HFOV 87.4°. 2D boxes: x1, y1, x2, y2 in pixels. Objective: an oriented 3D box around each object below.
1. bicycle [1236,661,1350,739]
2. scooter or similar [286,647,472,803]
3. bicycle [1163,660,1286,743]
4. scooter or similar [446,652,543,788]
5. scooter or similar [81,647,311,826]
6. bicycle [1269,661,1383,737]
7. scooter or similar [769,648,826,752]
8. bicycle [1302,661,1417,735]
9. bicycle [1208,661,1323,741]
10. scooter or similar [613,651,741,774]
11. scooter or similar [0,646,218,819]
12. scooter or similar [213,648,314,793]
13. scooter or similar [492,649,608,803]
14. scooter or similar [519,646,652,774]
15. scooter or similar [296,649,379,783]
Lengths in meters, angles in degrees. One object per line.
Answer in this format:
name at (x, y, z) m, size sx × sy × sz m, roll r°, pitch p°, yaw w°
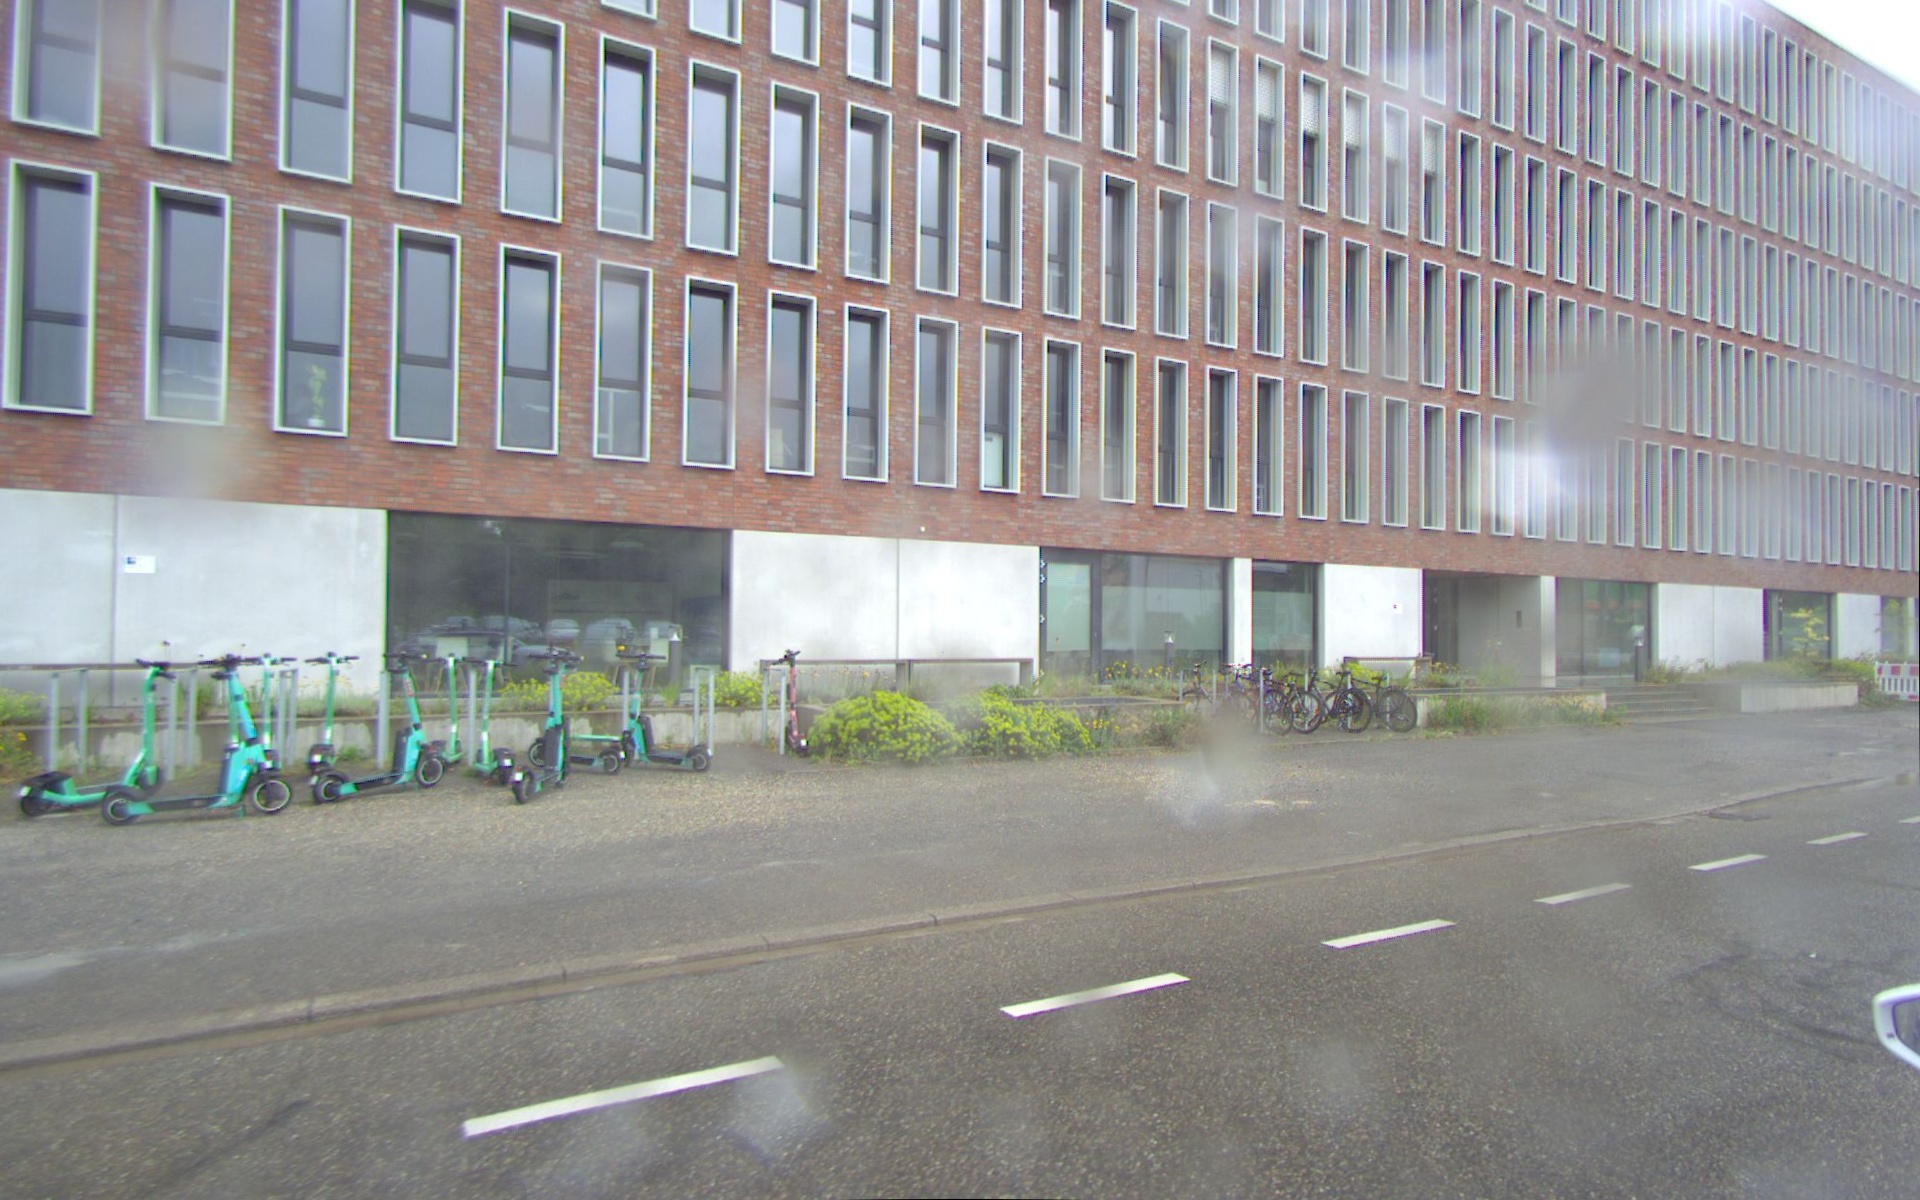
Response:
bicycle at (5.377, 1.589, 16.333) m, size 0.538 × 1.091 × 1.850 m, roll 3°, pitch -1°, yaw -30°
scooter or similar at (-5.032, 1.046, 8.780) m, size 0.459 × 1.246 × 1.318 m, roll -1°, pitch -3°, yaw 31°
bicycle at (4.044, 1.526, 15.524) m, size 0.613 × 1.091 × 1.938 m, roll 3°, pitch -1°, yaw -30°
scooter or similar at (-4.485, 1.108, 9.640) m, size 0.464 × 1.193 × 1.305 m, roll 3°, pitch -3°, yaw -41°
scooter or similar at (-5.715, 0.989, 7.601) m, size 1.307 × 1.246 × 0.463 m, roll 2°, pitch -3°, yaw -33°
bicycle at (6.072, 1.619, 16.766) m, size 0.538 × 1.091 × 1.850 m, roll 3°, pitch -1°, yaw -30°
scooter or similar at (-2.045, 1.222, 12.551) m, size 0.411 × 1.224 × 1.224 m, roll 2°, pitch -3°, yaw -22°
bicycle at (6.794, 1.649, 17.175) m, size 0.538 × 1.091 × 1.850 m, roll 3°, pitch -1°, yaw -30°
bicycle at (4.832, 1.570, 16.012) m, size 0.538 × 1.091 × 1.850 m, roll 3°, pitch -1°, yaw -30°
scooter or similar at (-2.945, 1.149, 10.485) m, size 1.183 × 1.224 × 0.468 m, roll 0°, pitch -2°, yaw 13°
scooter or similar at (-6.730, 0.995, 7.993) m, size 0.498 × 1.246 × 1.322 m, roll 0°, pitch -3°, yaw 9°
scooter or similar at (-6.215, 1.035, 9.018) m, size 0.461 × 1.193 × 1.313 m, roll 2°, pitch -3°, yaw -24°
scooter or similar at (-3.565, 1.058, 8.837) m, size 0.458 × 1.246 × 1.321 m, roll 1°, pitch -3°, yaw -1°
scooter or similar at (-3.820, 1.103, 10.262) m, size 1.183 × 1.246 × 0.468 m, roll 0°, pitch -2°, yaw 13°
scooter or similar at (-5.968, 1.074, 9.682) m, size 0.461 × 1.193 × 1.313 m, roll 2°, pitch -3°, yaw -24°
